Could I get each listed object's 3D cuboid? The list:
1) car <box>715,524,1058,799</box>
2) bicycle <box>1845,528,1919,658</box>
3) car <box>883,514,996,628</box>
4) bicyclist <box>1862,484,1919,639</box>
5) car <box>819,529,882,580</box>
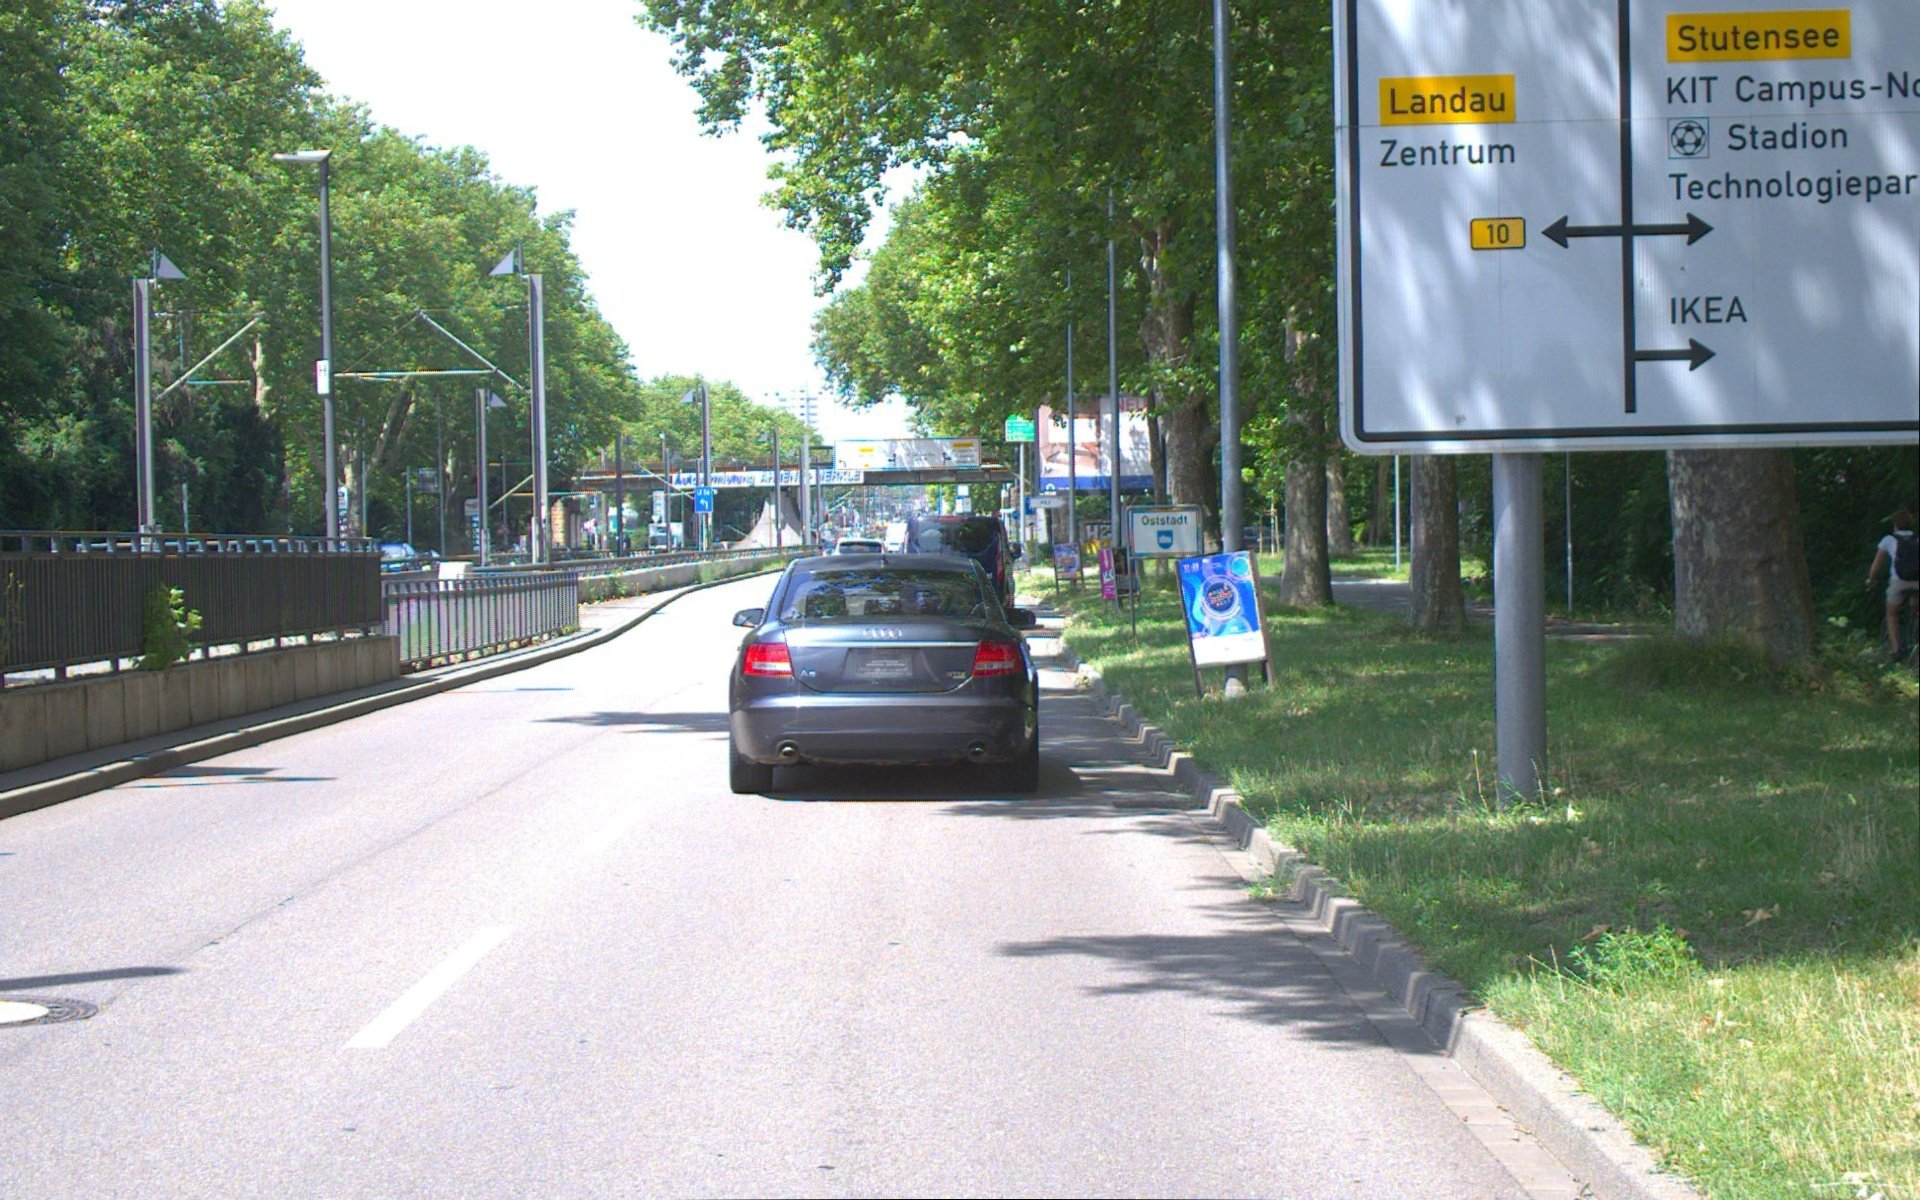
[{"bbox_3d":[-0.549,0.412,21.292,1.842,1.479,4.000,2,-2,-4],"label":"car"},{"bbox_3d":[10.736,-0.108,39.109,0.610,1.415,2.662,-1,1,-1],"label":"bicycle"},{"bbox_3d":[-0.328,-0.543,61.557,1.848,1.953,4.144,1,1,2],"label":"car"},{"bbox_3d":[10.705,-0.445,39.206,0.597,1.740,0.843,0,1,0],"label":"bicyclist"},{"bbox_3d":[-3.286,-1.376,103.121,1.845,1.459,4.001,-1,1,-2],"label":"car"}]
